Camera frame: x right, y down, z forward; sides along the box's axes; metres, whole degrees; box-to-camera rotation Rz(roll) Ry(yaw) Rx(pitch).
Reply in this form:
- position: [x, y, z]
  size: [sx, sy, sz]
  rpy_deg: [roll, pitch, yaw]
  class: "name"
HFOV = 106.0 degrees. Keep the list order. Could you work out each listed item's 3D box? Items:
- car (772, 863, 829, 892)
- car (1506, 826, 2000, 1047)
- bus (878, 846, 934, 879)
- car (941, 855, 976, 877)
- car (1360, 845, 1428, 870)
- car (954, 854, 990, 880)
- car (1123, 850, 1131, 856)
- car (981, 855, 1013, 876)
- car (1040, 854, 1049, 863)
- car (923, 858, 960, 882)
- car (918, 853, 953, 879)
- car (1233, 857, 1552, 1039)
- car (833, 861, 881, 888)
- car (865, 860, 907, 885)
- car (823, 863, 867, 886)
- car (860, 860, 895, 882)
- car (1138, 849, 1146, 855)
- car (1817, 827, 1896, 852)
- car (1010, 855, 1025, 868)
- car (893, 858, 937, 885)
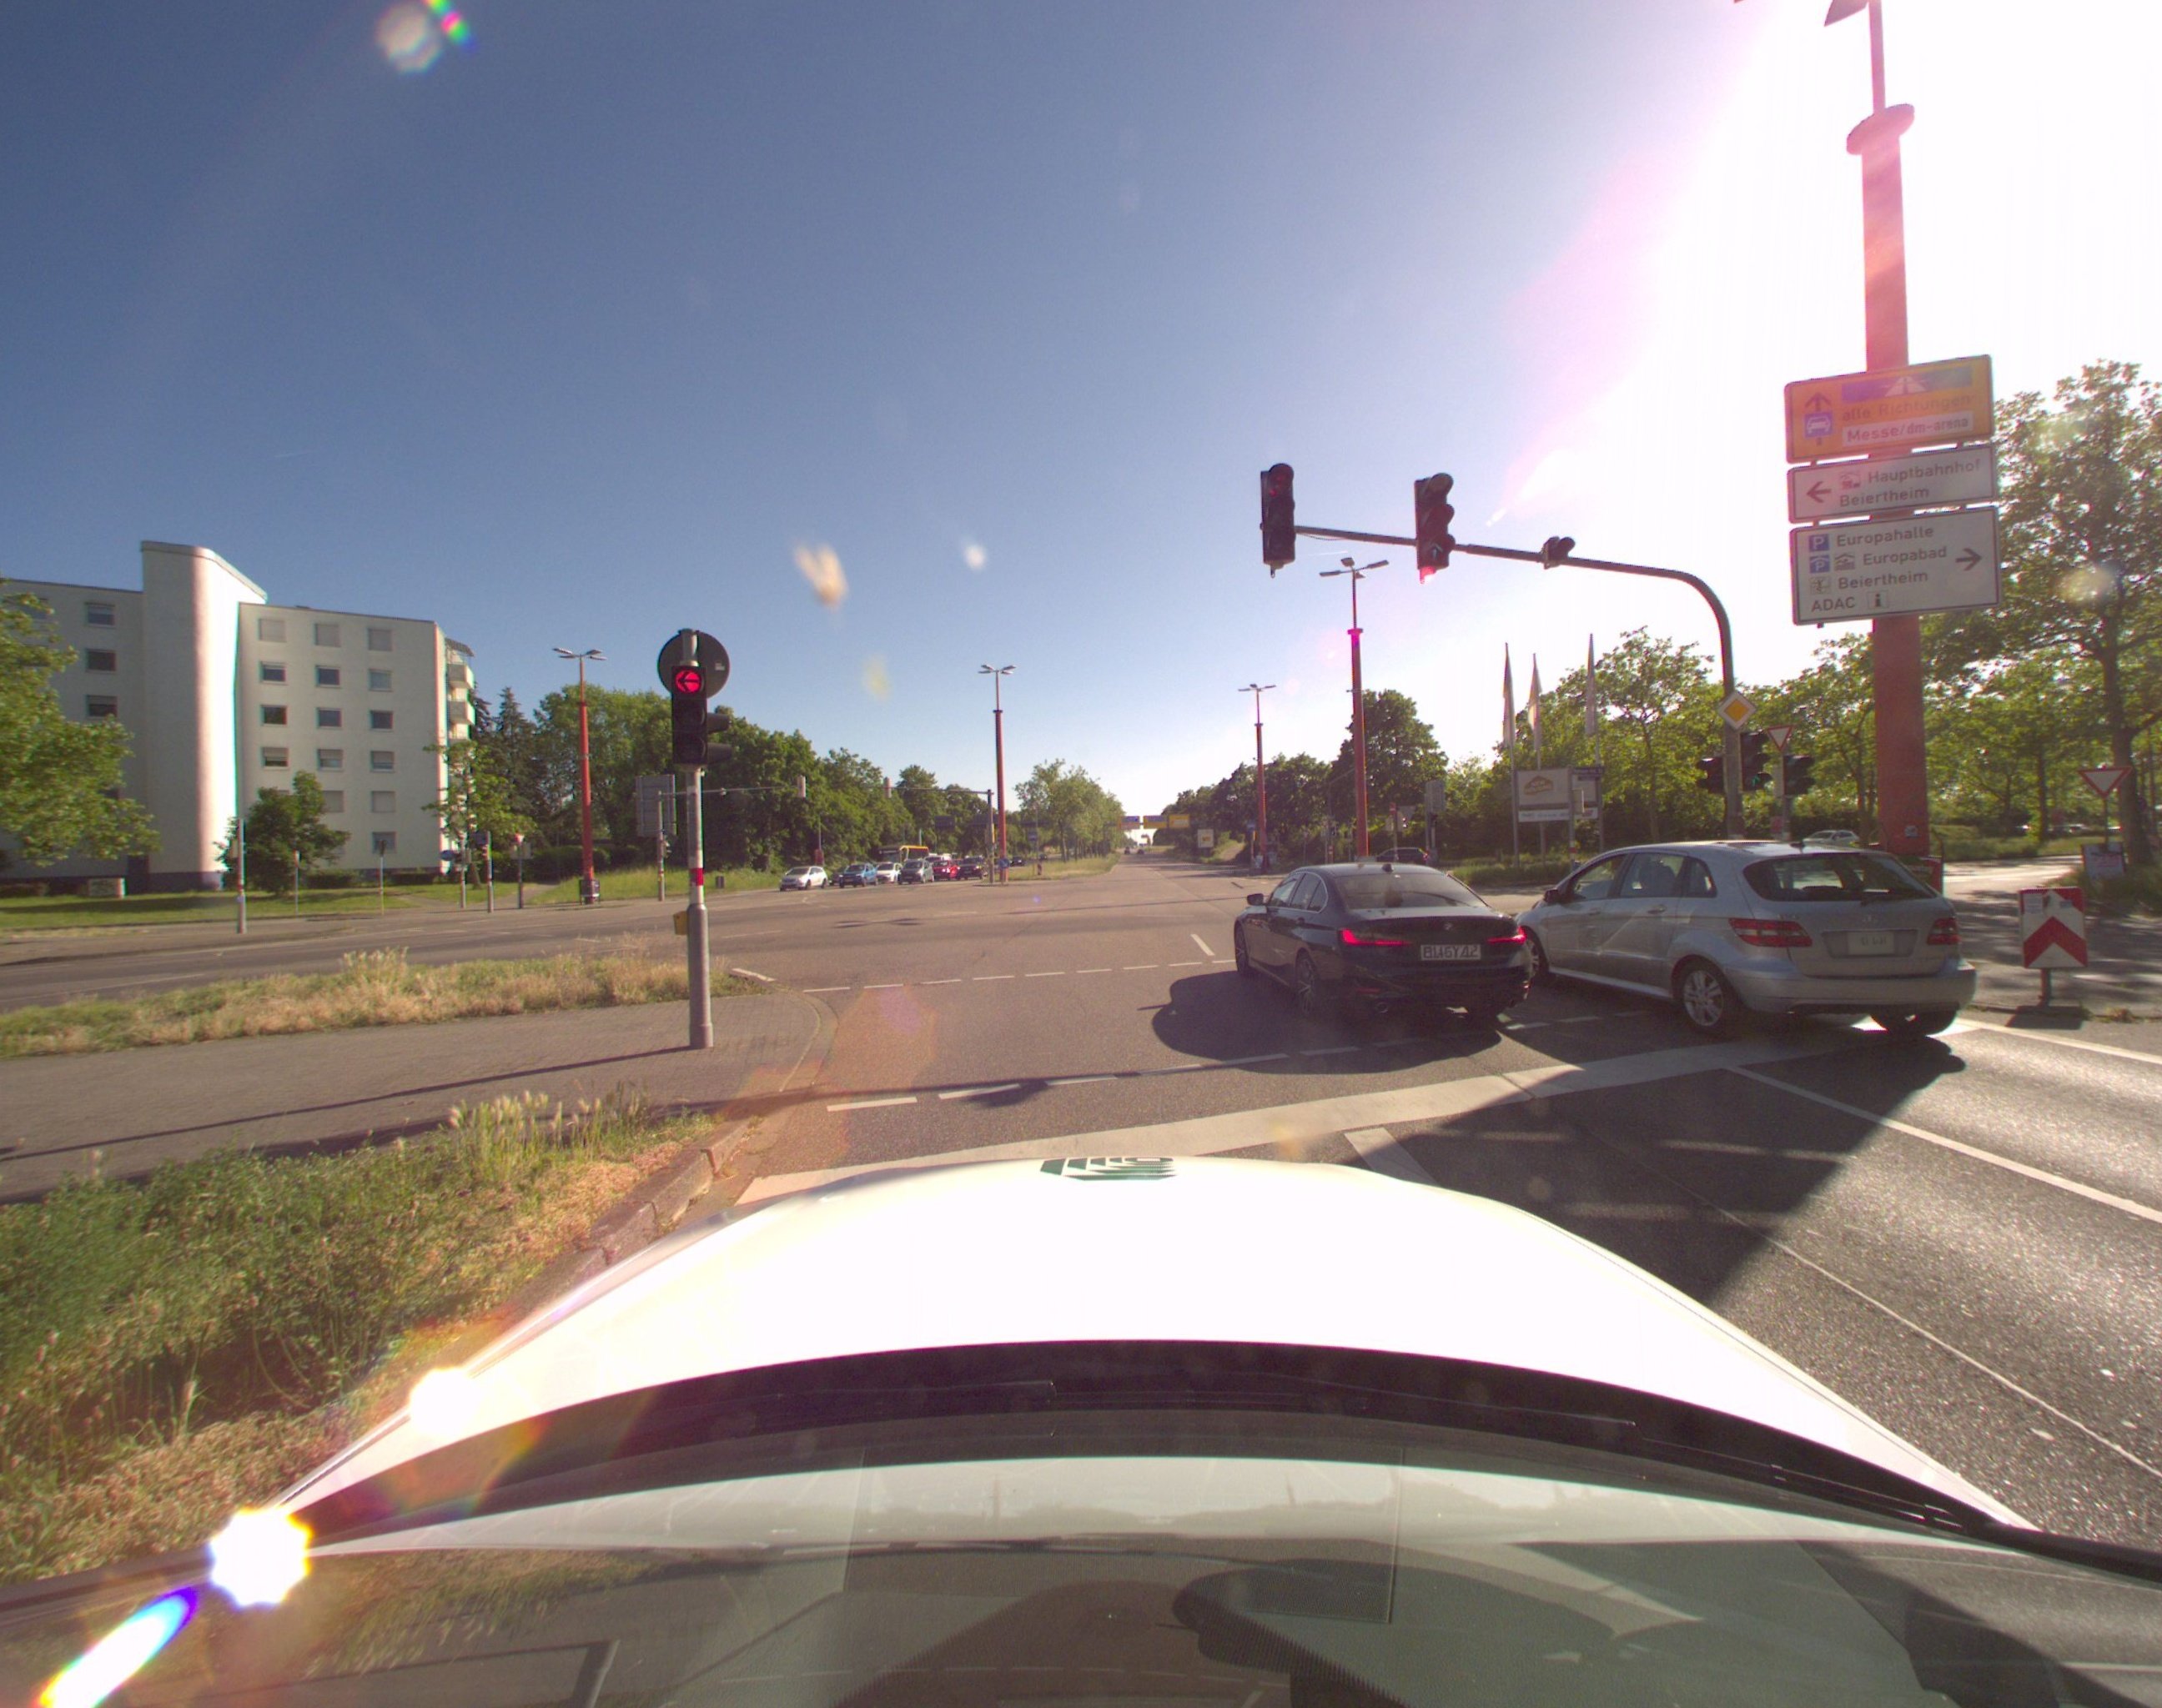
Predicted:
- position: [-17.636, 1.424, 51.421]
  size: [1.869, 1.652, 4.222]
  rpy_deg: [-3, -1, 3]
  class: "car"
- position: [5.921, 0.624, 7.895]
  size: [1.709, 1.608, 3.849]
  rpy_deg: [0, -1, 2]
  class: "car"
- position: [-18.695, 0.892, 87.914]
  size: [2.635, 3.261, 12.545]
  rpy_deg: [0, 0, 3]
  class: "bus"
- position: [-9.738, 0.935, 65.025]
  size: [1.893, 1.630, 4.003]
  rpy_deg: [-1, 0, 3]
  class: "car"
- position: [21.568, 0.244, 56.141]
  size: [4.246, 1.635, 1.779]
  rpy_deg: [-1, -1, 24]
  class: "car"
- position: [-7.519, 0.859, 56.707]
  size: [1.787, 1.626, 4.144]
  rpy_deg: [-3, 0, 1]
  class: "car"
- position: [12.815, -0.307, 226.242]
  size: [1.986, 1.733, 4.001]
  rpy_deg: [0, -1, 2]
  class: "car"
- position: [-6.606, 0.883, 64.329]
  size: [1.878, 1.543, 4.002]
  rpy_deg: [-3, 0, 2]
  class: "car"
- position: [-8.764, 1.097, 195.303]
  size: [1.913, 1.999, 4.605]
  rpy_deg: [-2, 0, 1]
  class: "car"
- position: [-10.058, 1.126, 59.028]
  size: [1.869, 1.552, 4.000]
  rpy_deg: [-5, 0, 0]
  class: "car"
- position: [-12.714, 1.001, 71.306]
  size: [1.954, 2.155, 5.083]
  rpy_deg: [-2, 0, 1]
  class: "car"
- position: [2.899, 0.769, 8.674]
  size: [1.758, 1.441, 4.294]
  rpy_deg: [0, 0, 0]
  class: "car"
- position: [-14.129, 1.287, 51.621]
  size: [1.794, 1.515, 3.861]
  rpy_deg: [-3, 0, 2]
  class: "car"
- position: [-13.765, 1.288, 57.767]
  size: [1.895, 1.555, 4.000]
  rpy_deg: [-3, 0, 0]
  class: "car"
- position: [-17.549, 1.503, 60.684]
  size: [1.877, 1.513, 4.003]
  rpy_deg: [-3, 0, 3]
  class: "car"
- position: [-16.791, 1.385, 67.370]
  size: [1.772, 1.652, 3.973]
  rpy_deg: [-4, -1, 0]
  class: "car"
- position: [16.961, -0.473, 227.634]
  size: [1.986, 1.733, 4.001]
  rpy_deg: [0, -1, 2]
  class: "car"
- position: [55.186, -1.021, 57.999]
  size: [4.281, 1.635, 1.765]
  rpy_deg: [-2, 0, -8]
  class: "car"
- position: [-9.607, 1.109, 124.207]
  size: [1.830, 1.837, 3.962]
  rpy_deg: [-2, 0, 2]
  class: "car"
- position: [-10.687, 1.080, 52.701]
  size: [1.867, 1.550, 4.029]
  rpy_deg: [-3, 0, 2]
  class: "car"
